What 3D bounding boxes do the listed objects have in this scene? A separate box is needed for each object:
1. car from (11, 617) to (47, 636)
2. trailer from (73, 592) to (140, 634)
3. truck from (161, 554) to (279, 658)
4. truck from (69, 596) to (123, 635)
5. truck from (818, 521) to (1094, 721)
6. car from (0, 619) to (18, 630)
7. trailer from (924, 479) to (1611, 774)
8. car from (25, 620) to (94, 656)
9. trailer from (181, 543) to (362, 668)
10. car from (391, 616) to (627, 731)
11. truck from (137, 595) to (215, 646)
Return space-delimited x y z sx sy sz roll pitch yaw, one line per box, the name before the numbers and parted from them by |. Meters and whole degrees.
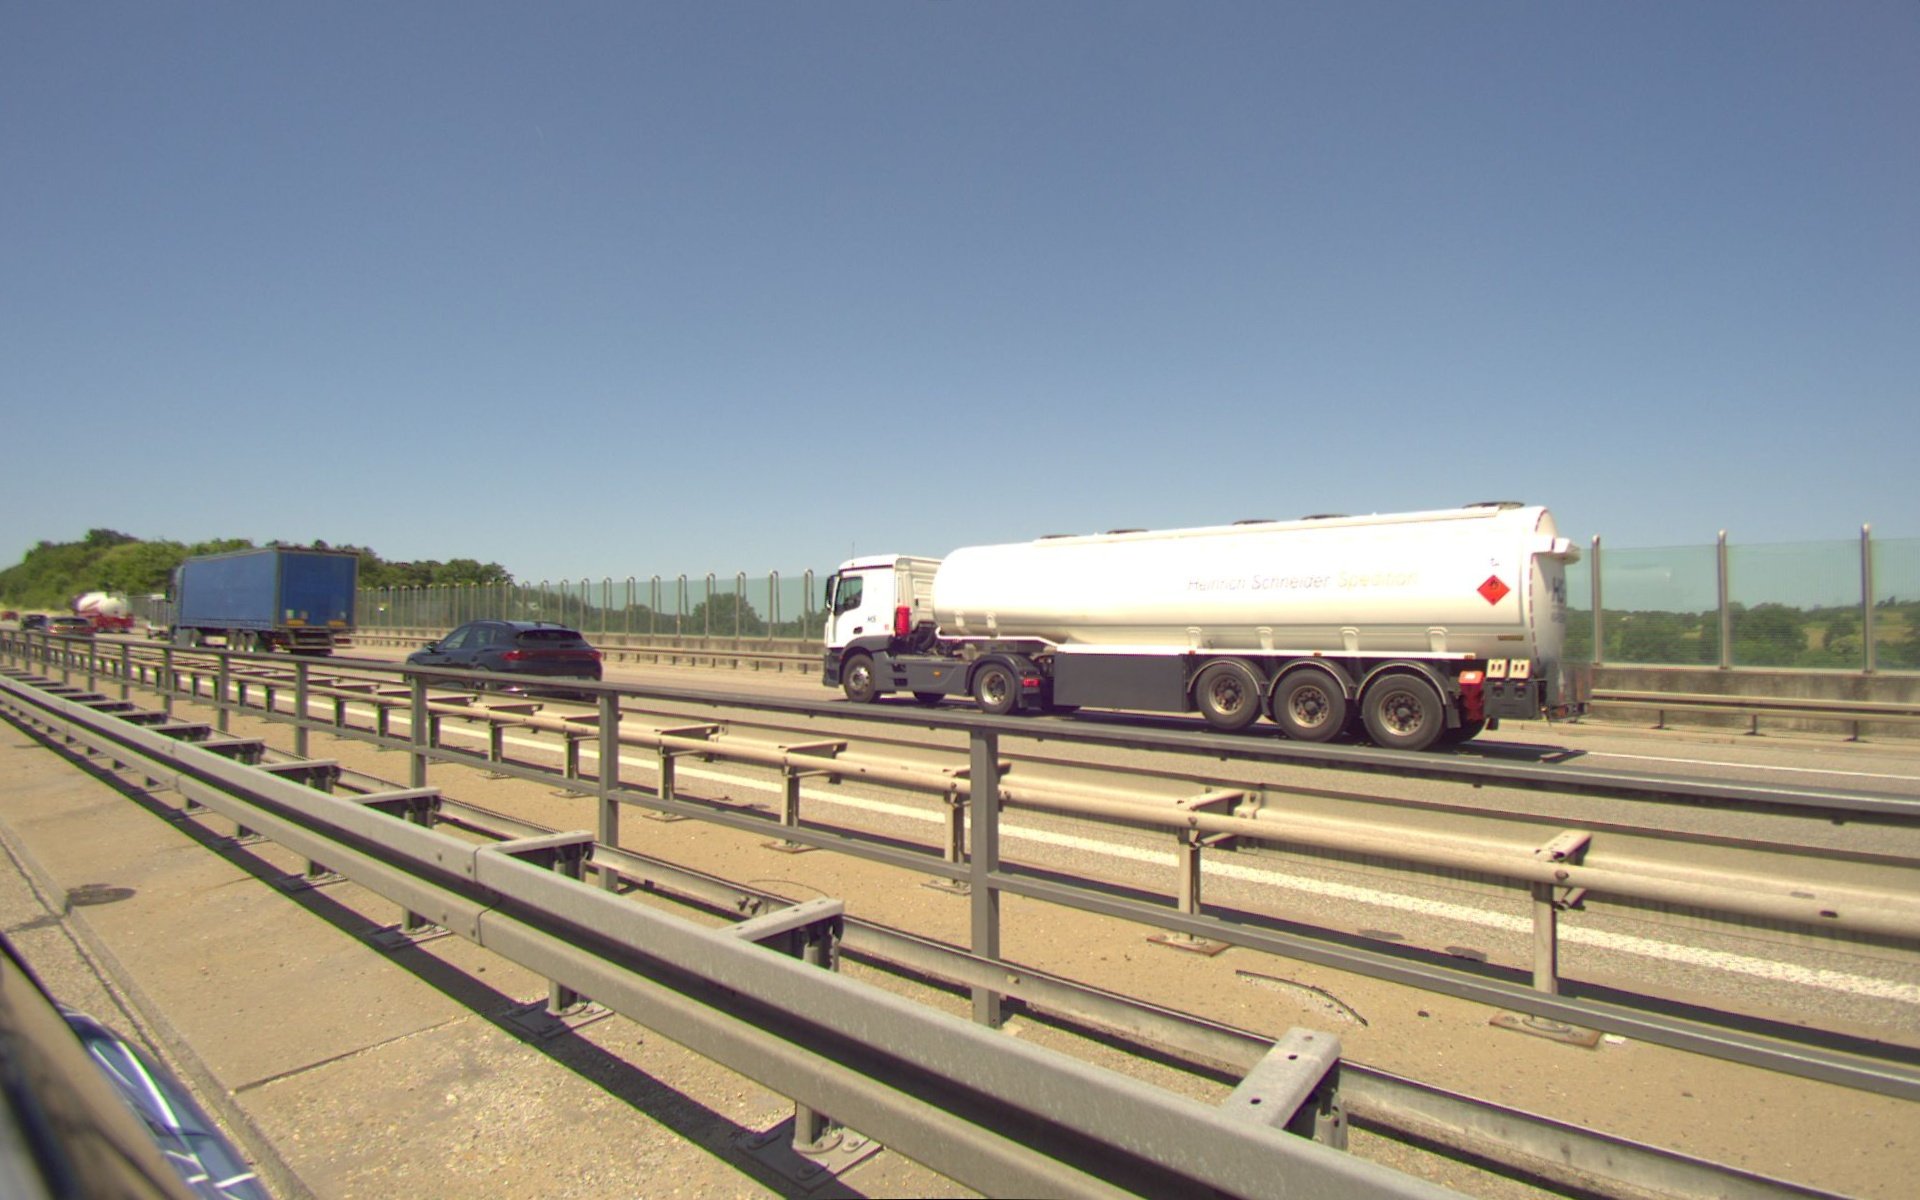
car | -77.460 2.210 84.153 3.850 1.510 1.779 0 -2 41
trailer | -74.499 1.104 88.245 12.006 3.405 2.845 0 -3 43
truck | -31.916 0.295 43.550 6.262 4.148 2.724 0 -2 41
truck | -78.483 1.398 91.917 6.294 3.441 2.877 0 -3 43
truck | -0.192 0.418 20.729 5.329 3.562 2.493 0 -2 42
car | -141.425 3.615 150.385 3.999 1.431 1.763 0 -4 42
trailer | 4.201 0.378 16.808 10.900 3.567 2.472 0 -2 42
car | -42.632 1.764 47.906 4.186 1.563 1.863 0 0 40
trailer | -26.799 0.253 39.038 12.043 4.197 2.676 0 -2 41
car | -7.390 1.069 16.406 4.186 1.563 1.863 0 0 40
truck | -52.702 1.362 67.976 8.291 3.213 2.535 0 -4 42
